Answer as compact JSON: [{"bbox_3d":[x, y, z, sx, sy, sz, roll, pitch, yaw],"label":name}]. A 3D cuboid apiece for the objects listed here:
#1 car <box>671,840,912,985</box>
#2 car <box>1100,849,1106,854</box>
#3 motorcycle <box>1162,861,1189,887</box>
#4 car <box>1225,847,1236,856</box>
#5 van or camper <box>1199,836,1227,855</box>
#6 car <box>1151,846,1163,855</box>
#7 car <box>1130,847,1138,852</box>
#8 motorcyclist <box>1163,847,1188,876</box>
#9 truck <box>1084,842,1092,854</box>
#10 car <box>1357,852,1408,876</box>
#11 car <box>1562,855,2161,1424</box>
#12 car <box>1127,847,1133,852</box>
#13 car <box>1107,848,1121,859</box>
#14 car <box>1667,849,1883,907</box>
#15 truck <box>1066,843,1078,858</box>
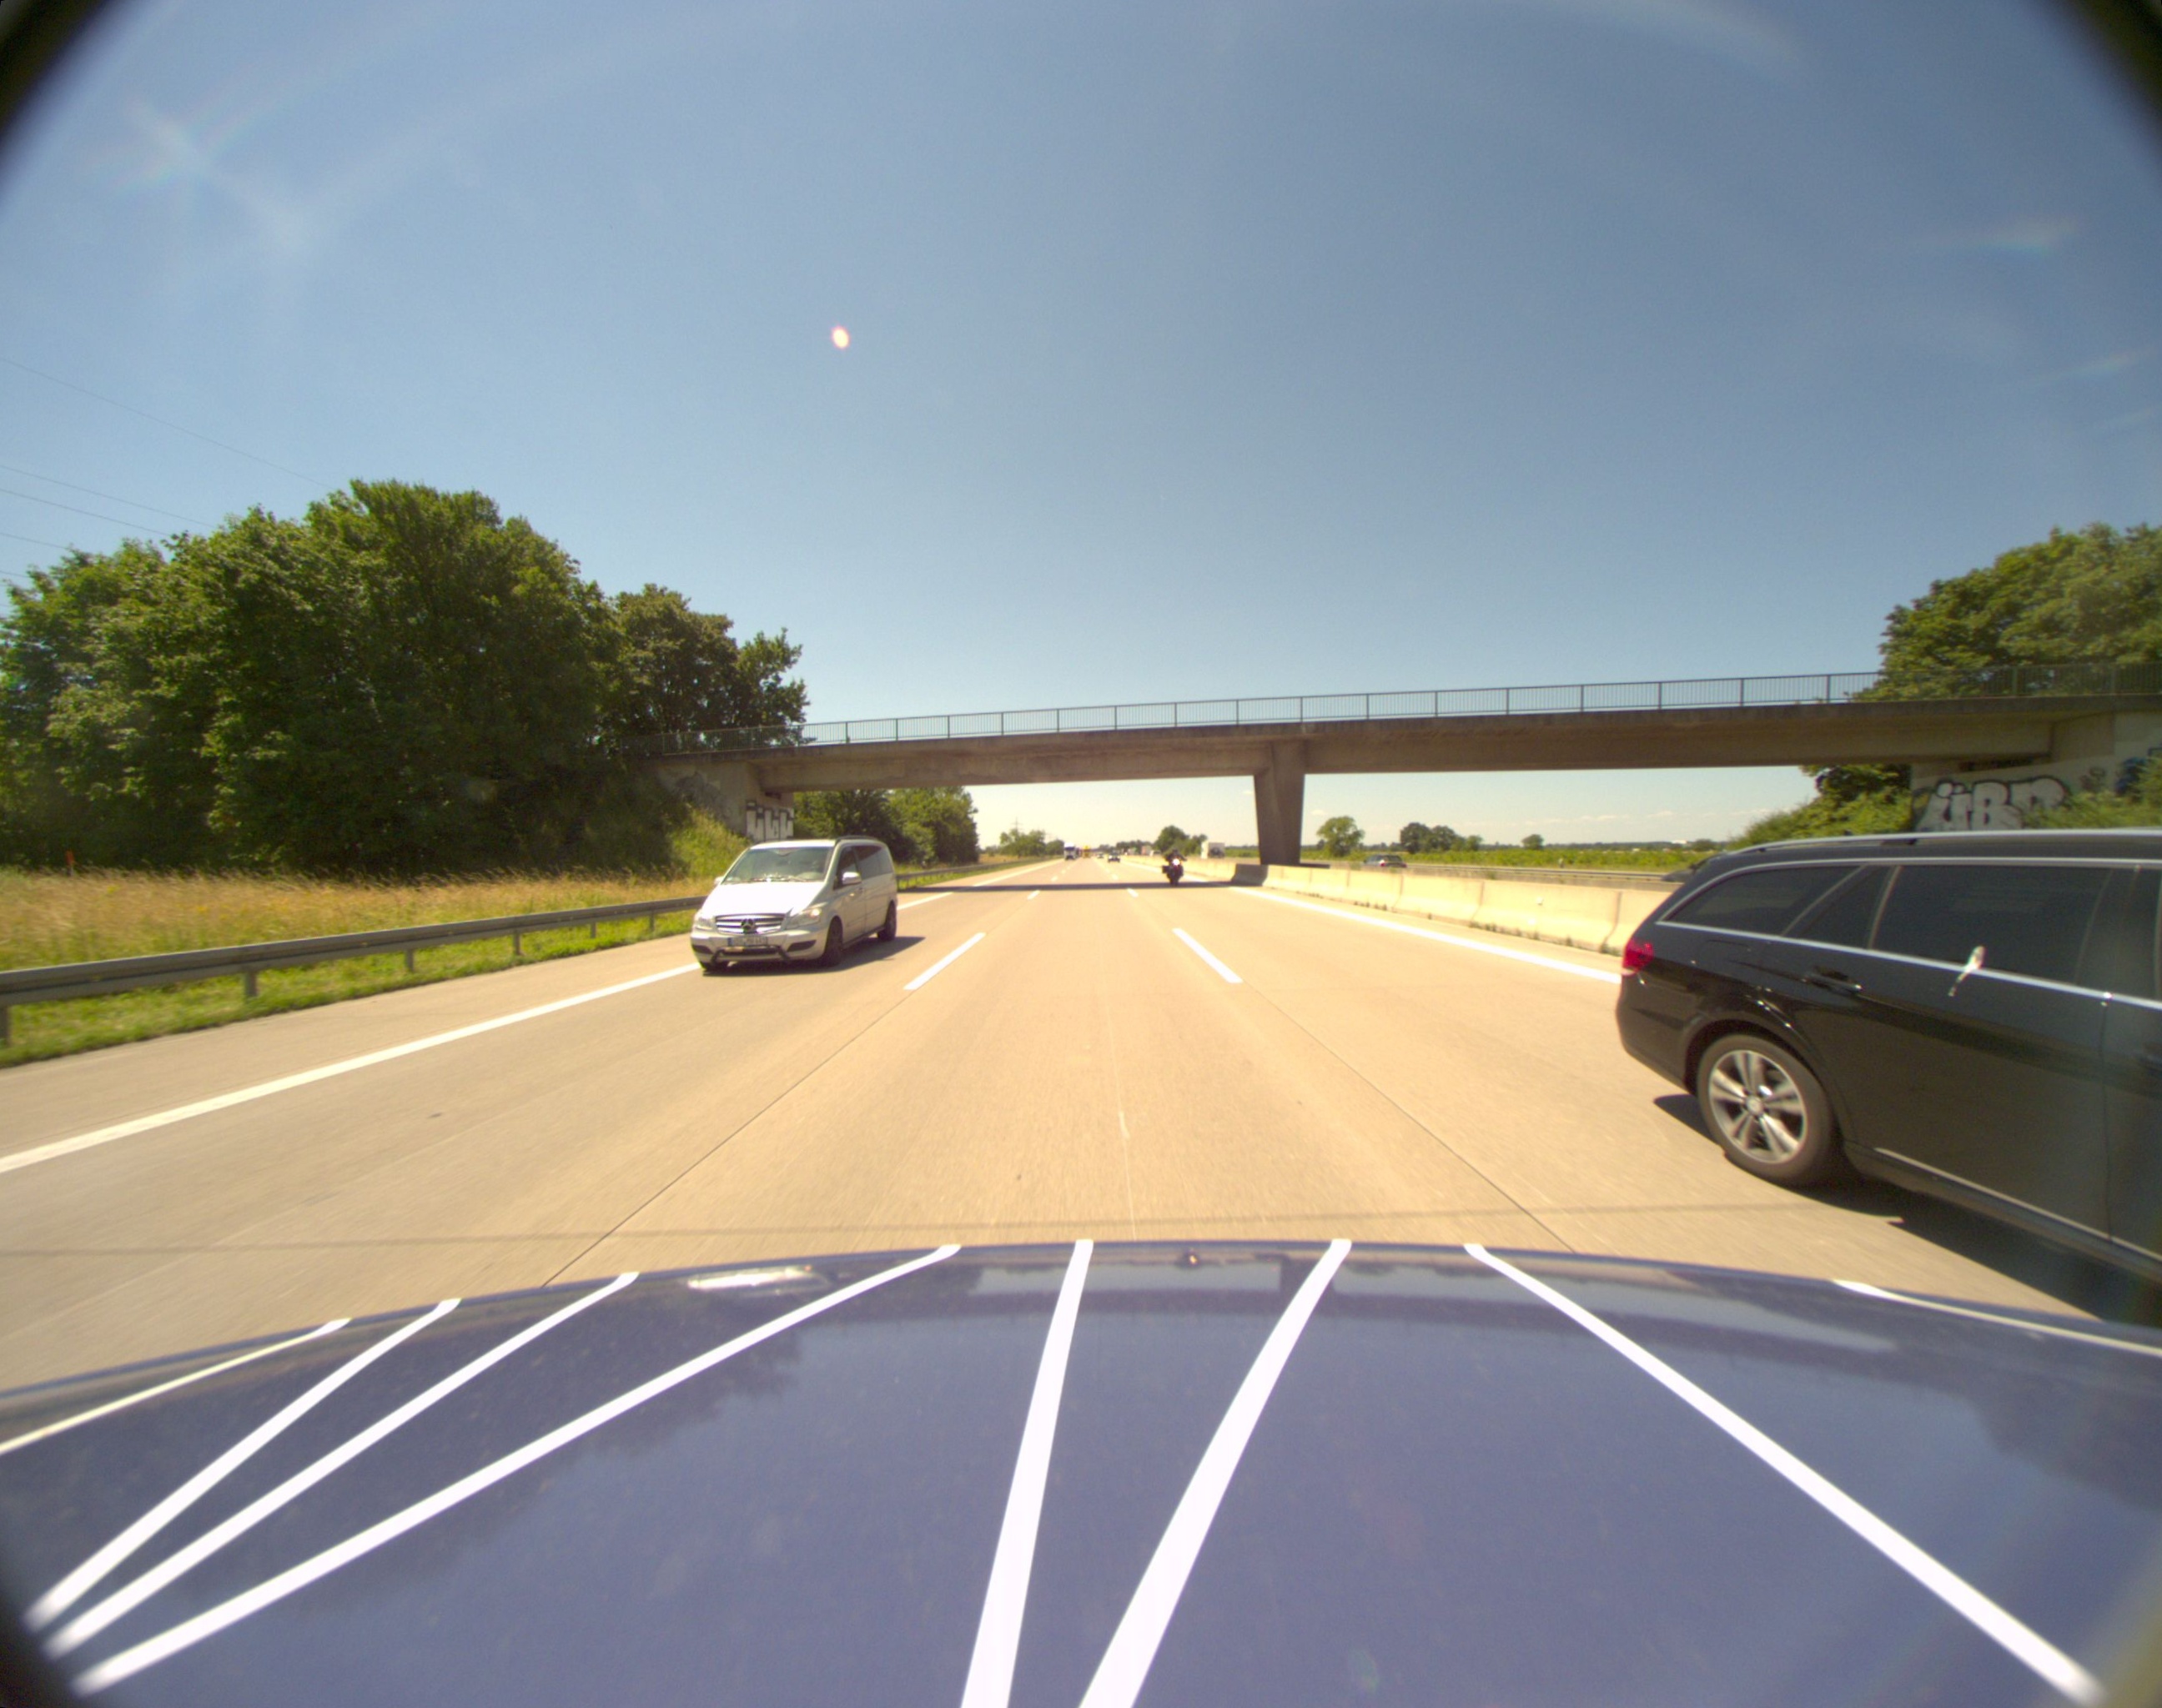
[{"bbox_3d":[-4.407,0.763,12.659,1.884,1.878,5.279,-1,0,1],"label":"car"},{"bbox_3d":[5.864,-0.708,205.847,1.586,1.527,3.611,0,1,1],"label":"car"},{"bbox_3d":[4.126,0.855,33.327,1.023,1.042,2.413,0,0,3],"label":"motorcycle"},{"bbox_3d":[27.321,-0.472,138.880,1.401,1.574,3.102,-1,1,1],"label":"car"},{"bbox_3d":[17.426,-1.093,100.820,2.254,2.429,7.801,-2,0,0],"label":"van or camper"},{"bbox_3d":[14.902,-0.686,149.982,1.831,1.708,5.792,-1,0,0],"label":"car"},{"bbox_3d":[14.629,-1.192,210.123,1.761,1.488,4.080,0,0,0],"label":"car"},{"bbox_3d":[4.110,0.322,33.258,1.027,1.202,0.911,-1,1,4],"label":"motorcyclist"},{"bbox_3d":[2.437,-1.963,251.869,2.570,3.711,10.099,-1,0,1],"label":"truck"},{"bbox_3d":[17.495,0.568,44.234,1.569,1.311,3.632,-1,0,0],"label":"car"},{"bbox_3d":[3.798,0.766,1.742,1.895,1.465,5.603,-1,0,1],"label":"car"},{"bbox_3d":[15.603,-1.451,243.700,1.692,1.535,4.338,-1,0,1],"label":"car"},{"bbox_3d":[5.079,-0.078,116.061,1.998,1.518,4.000,0,1,1],"label":"car"},{"bbox_3d":[17.578,0.533,19.583,1.569,1.311,4.372,-1,0,0],"label":"car"},{"bbox_3d":[-2.086,-0.845,182.111,2.570,3.514,10.099,-1,0,1],"label":"truck"}]
